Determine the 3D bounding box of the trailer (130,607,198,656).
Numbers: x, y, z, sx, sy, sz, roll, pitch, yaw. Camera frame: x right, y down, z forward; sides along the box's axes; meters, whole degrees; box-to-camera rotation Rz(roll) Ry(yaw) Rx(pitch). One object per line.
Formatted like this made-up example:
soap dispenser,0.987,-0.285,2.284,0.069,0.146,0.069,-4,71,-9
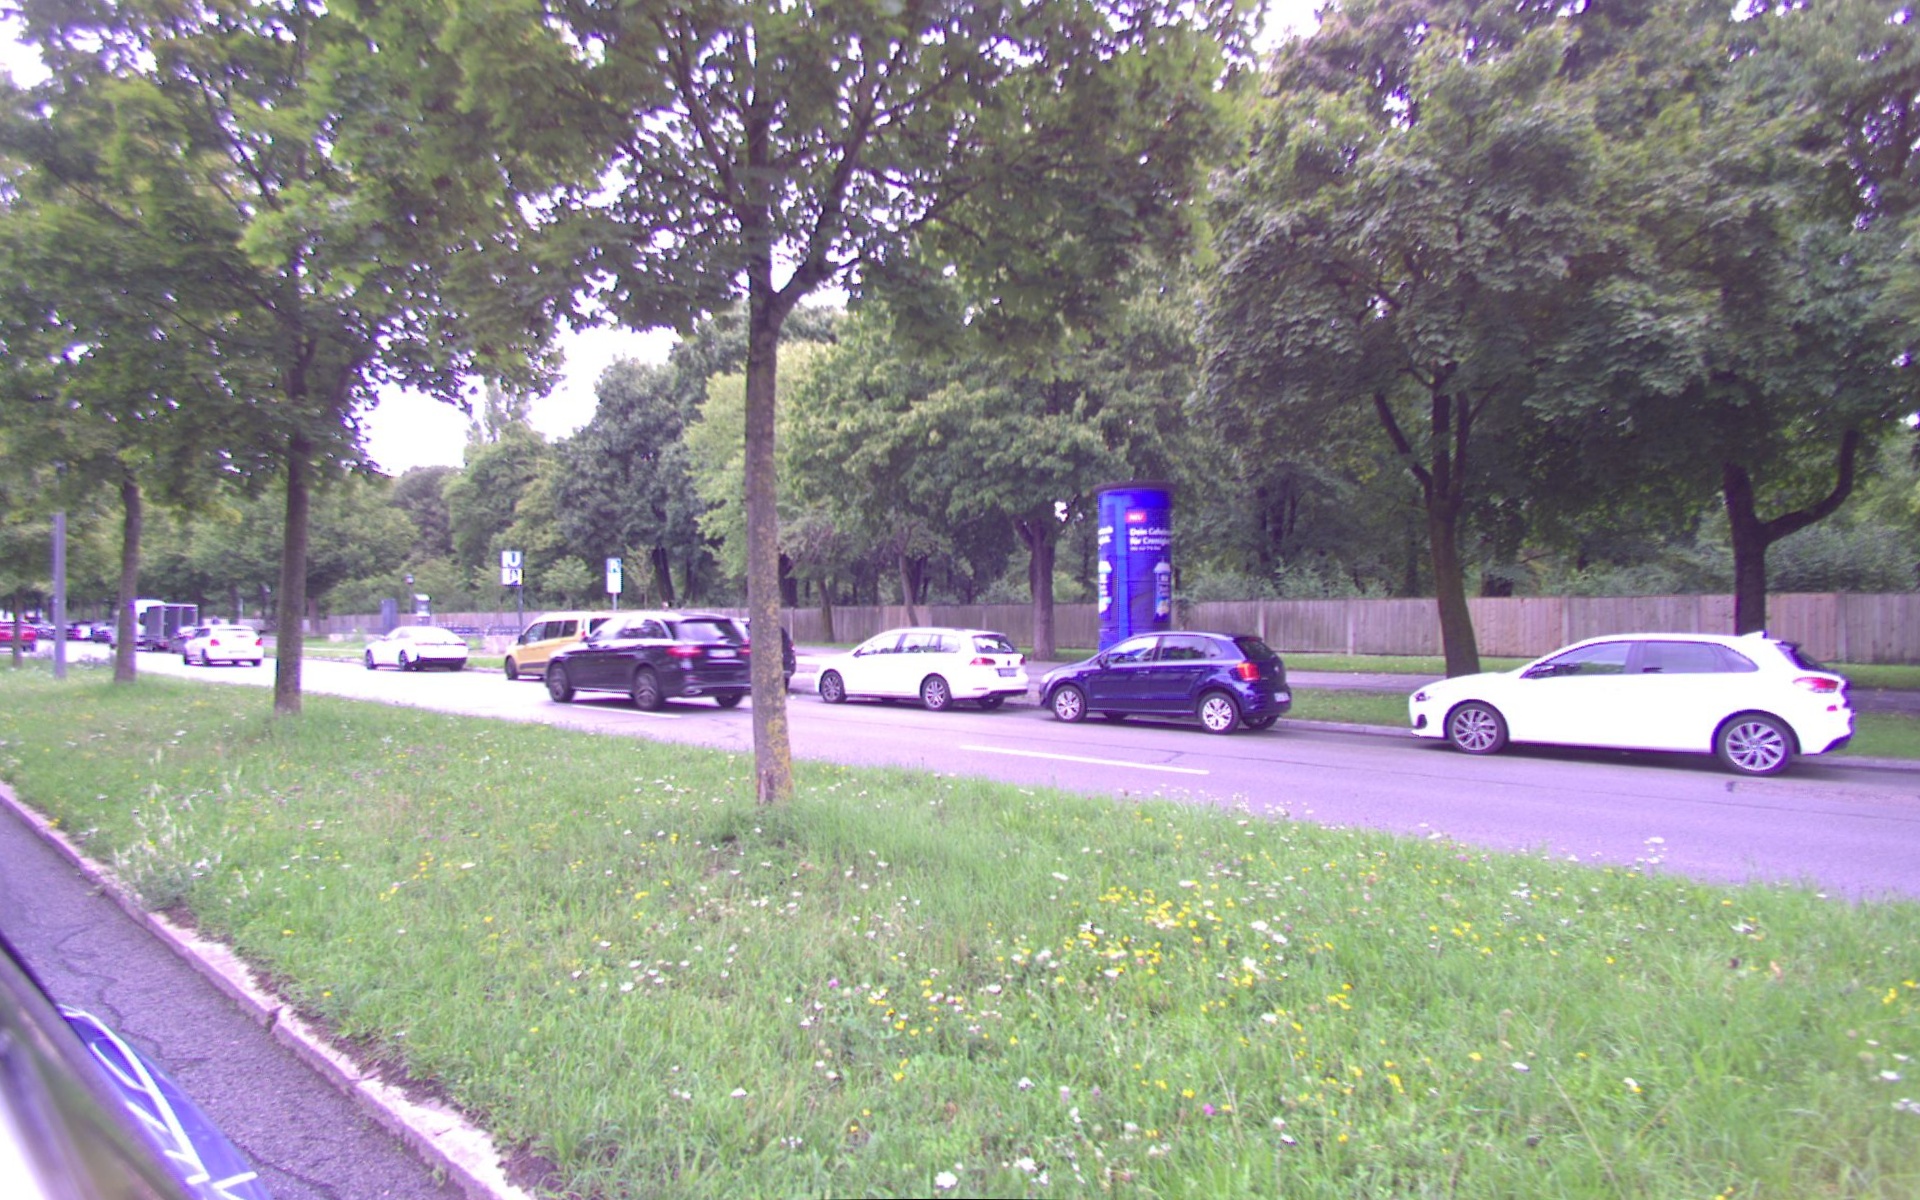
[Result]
trailer,-43.822,1.740,55.673,4.656,2.610,1.996,-2,-3,41

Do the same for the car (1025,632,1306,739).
car,3.043,1.212,15.362,3.892,1.428,1.597,-1,-3,38

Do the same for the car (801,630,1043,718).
car,-0.799,1.302,18.930,4.529,1.461,1.744,-2,-3,40

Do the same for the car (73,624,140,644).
car,-72.492,2.841,86.027,1.872,1.474,3.984,-2,0,13

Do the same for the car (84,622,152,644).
car,-67.920,2.630,81.688,1.783,1.599,3.986,-2,0,11

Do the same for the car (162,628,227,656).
car,-39.217,2.145,51.794,4.235,1.394,1.781,-2,-3,41

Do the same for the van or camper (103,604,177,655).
van or camper,-48.463,1.744,59.705,7.542,2.859,2.014,-2,-3,41

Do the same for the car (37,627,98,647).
car,-82.290,3.390,93.392,1.869,1.569,3.990,-2,0,8

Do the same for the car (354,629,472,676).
car,-18.574,1.746,34.282,4.871,1.484,1.838,-2,-3,40

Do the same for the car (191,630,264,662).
car,-34.548,2.149,47.695,4.428,1.436,1.781,-2,-3,41

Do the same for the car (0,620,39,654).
car,-49.319,1.894,52.383,4.243,1.709,1.884,-1,-3,41

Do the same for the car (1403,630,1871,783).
car,7.610,1.095,11.719,4.276,1.455,1.590,-2,-3,41

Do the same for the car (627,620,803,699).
car,-5.662,1.313,23.143,4.252,1.658,1.719,-2,-3,40

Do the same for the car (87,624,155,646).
car,-65.849,2.717,79.499,1.779,1.497,3.993,-2,0,6

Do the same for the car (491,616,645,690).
car,-10.515,1.375,26.984,4.815,1.796,1.795,-2,-3,42

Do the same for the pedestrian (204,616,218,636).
pedestrian,-68.074,2.342,92.004,0.872,1.781,0.761,-1,-2,37

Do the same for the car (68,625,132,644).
car,-74.768,2.990,88.051,1.722,1.466,3.984,-2,0,13

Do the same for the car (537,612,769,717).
car,-5.516,1.077,17.902,4.503,1.636,1.748,-1,-3,40

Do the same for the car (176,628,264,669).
car,-26.187,1.695,35.777,3.835,1.385,1.602,-1,-3,40

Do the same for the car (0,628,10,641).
car,-107.944,3.883,113.534,4.170,1.454,1.864,-1,0,45
